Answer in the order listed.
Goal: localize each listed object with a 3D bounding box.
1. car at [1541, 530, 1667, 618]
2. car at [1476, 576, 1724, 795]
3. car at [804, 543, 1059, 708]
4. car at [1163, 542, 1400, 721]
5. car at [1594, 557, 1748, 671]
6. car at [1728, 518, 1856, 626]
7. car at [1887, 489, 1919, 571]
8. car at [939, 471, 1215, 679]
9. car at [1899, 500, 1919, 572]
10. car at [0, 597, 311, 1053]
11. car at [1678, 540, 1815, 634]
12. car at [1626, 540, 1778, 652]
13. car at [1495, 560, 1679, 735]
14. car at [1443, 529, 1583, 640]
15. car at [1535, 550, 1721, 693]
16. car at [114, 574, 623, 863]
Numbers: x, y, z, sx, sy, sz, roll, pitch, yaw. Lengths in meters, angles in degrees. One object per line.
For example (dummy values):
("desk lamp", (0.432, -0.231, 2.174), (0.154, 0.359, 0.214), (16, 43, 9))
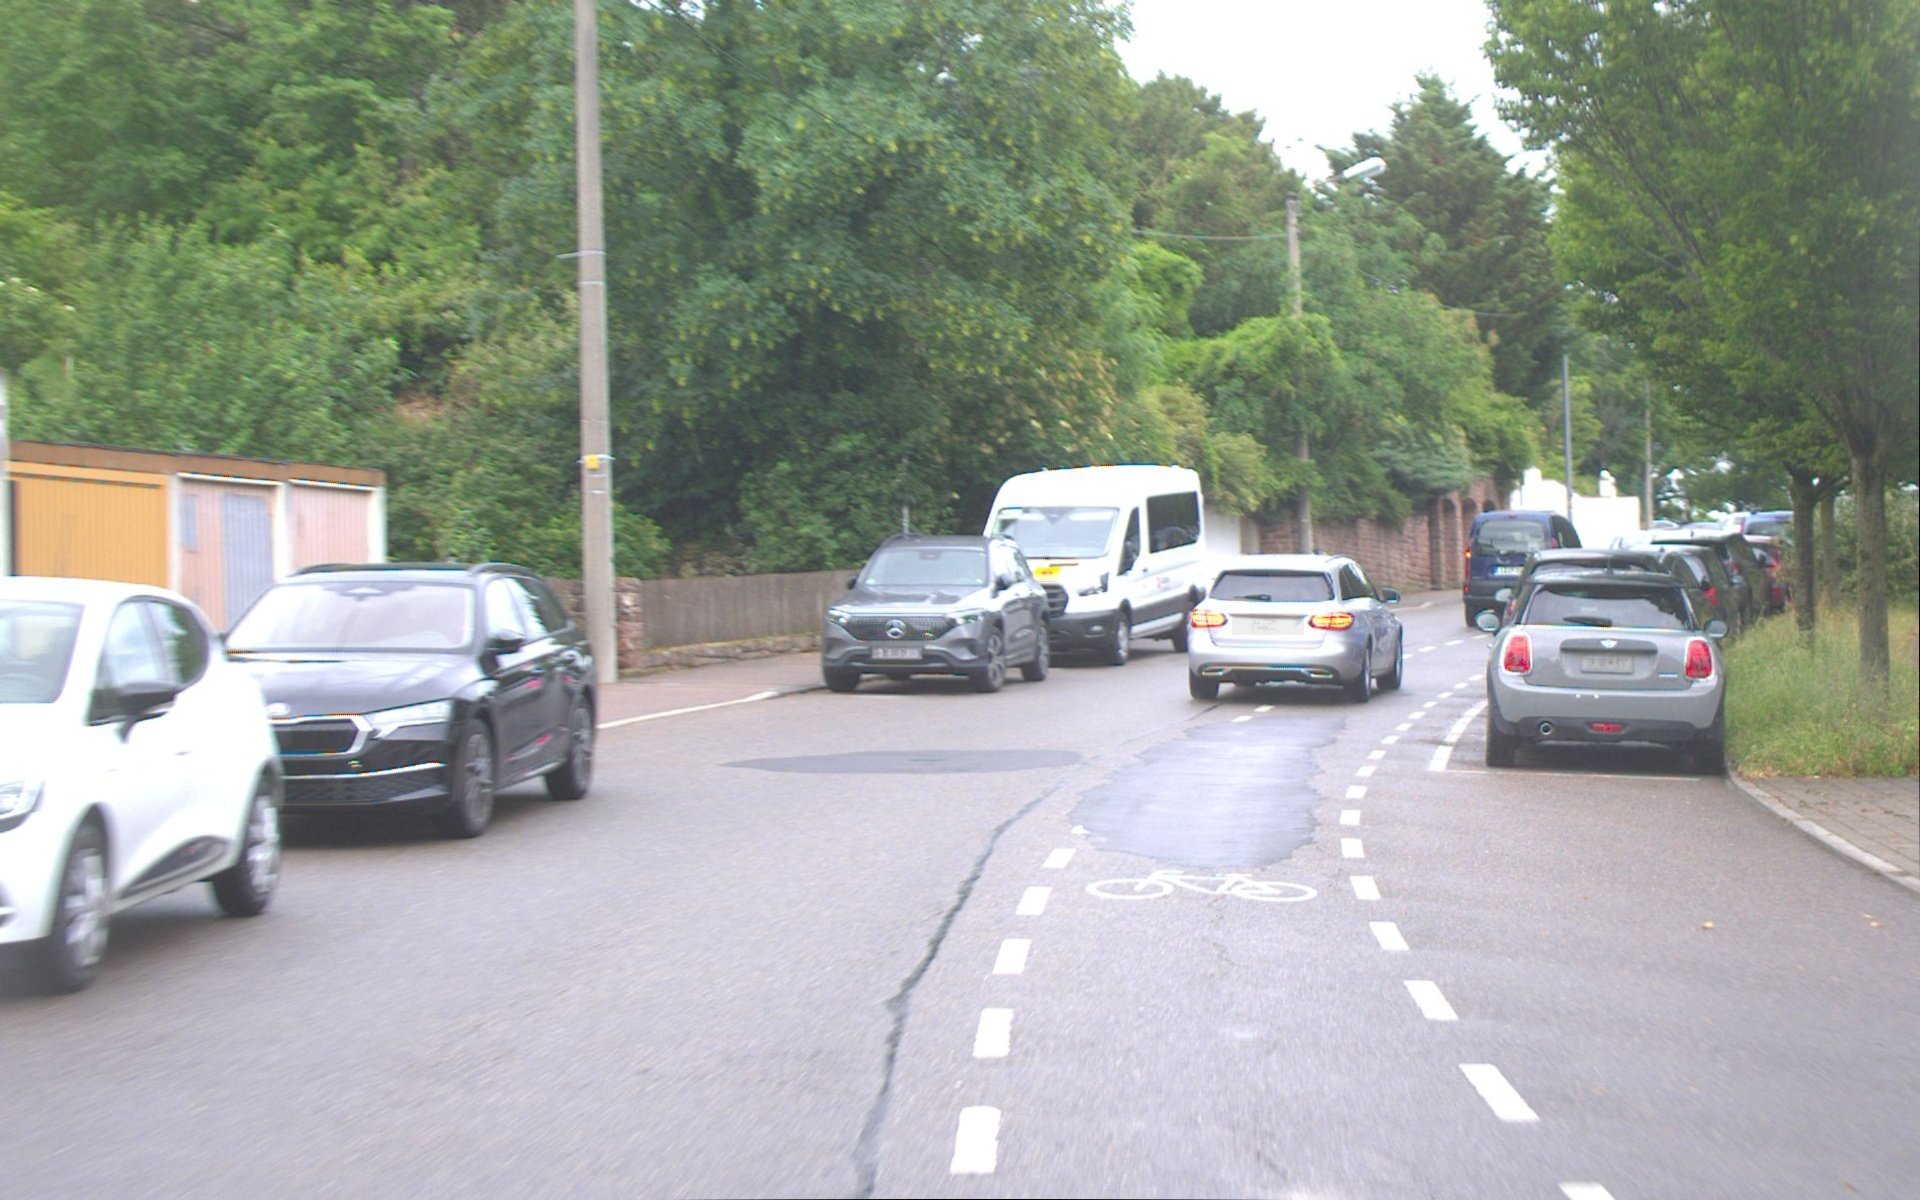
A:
("car", (13.038, -0.528, 69.461), (1.995, 1.702, 3.996), (1, 0, 18))
("car", (4.800, 0.585, 25.973), (1.669, 1.466, 3.708), (2, 1, 10))
("car", (-0.238, 0.234, 37.789), (1.897, 1.685, 4.543), (-1, 1, 11))
("car", (3.369, 0.287, 35.337), (2.026, 1.702, 4.213), (1, 0, 11))
("car", (9.819, 0.159, 47.294), (1.644, 1.419, 4.284), (2, 2, 17))
("car", (15.085, -0.548, 62.218), (1.780, 1.845, 4.420), (1, 2, 20))
("car", (30.028, -2.175, 106.704), (2.175, 2.484, 6.029), (2, 2, 17))
("car", (1.645, -0.377, 45.242), (2.096, 2.541, 6.092), (0, 1, 17))
("car", (28.227, -1.859, 99.399), (1.995, 2.045, 5.117), (0, 1, 16))
("car", (-3.885, 0.736, 13.188), (1.832, 1.435, 4.040), (-1, 1, 3))
("car", (13.174, -0.248, 57.471), (1.650, 1.476, 4.015), (1, 2, 21))
("car", (11.333, -0.095, 52.367), (1.716, 1.550, 4.160), (2, 2, 19))
("car", (5.996, 0.413, 32.797), (1.627, 1.557, 3.021), (1, 1, 11))
("car", (8.856, -0.261, 55.286), (1.994, 1.702, 3.999), (0, 0, 6))
("car", (8.059, 0.208, 41.181), (1.777, 1.547, 4.725), (2, 1, 16))
("car", (-3.257, 0.589, 19.905), (1.713, 1.454, 4.681), (0, 1, 6))
